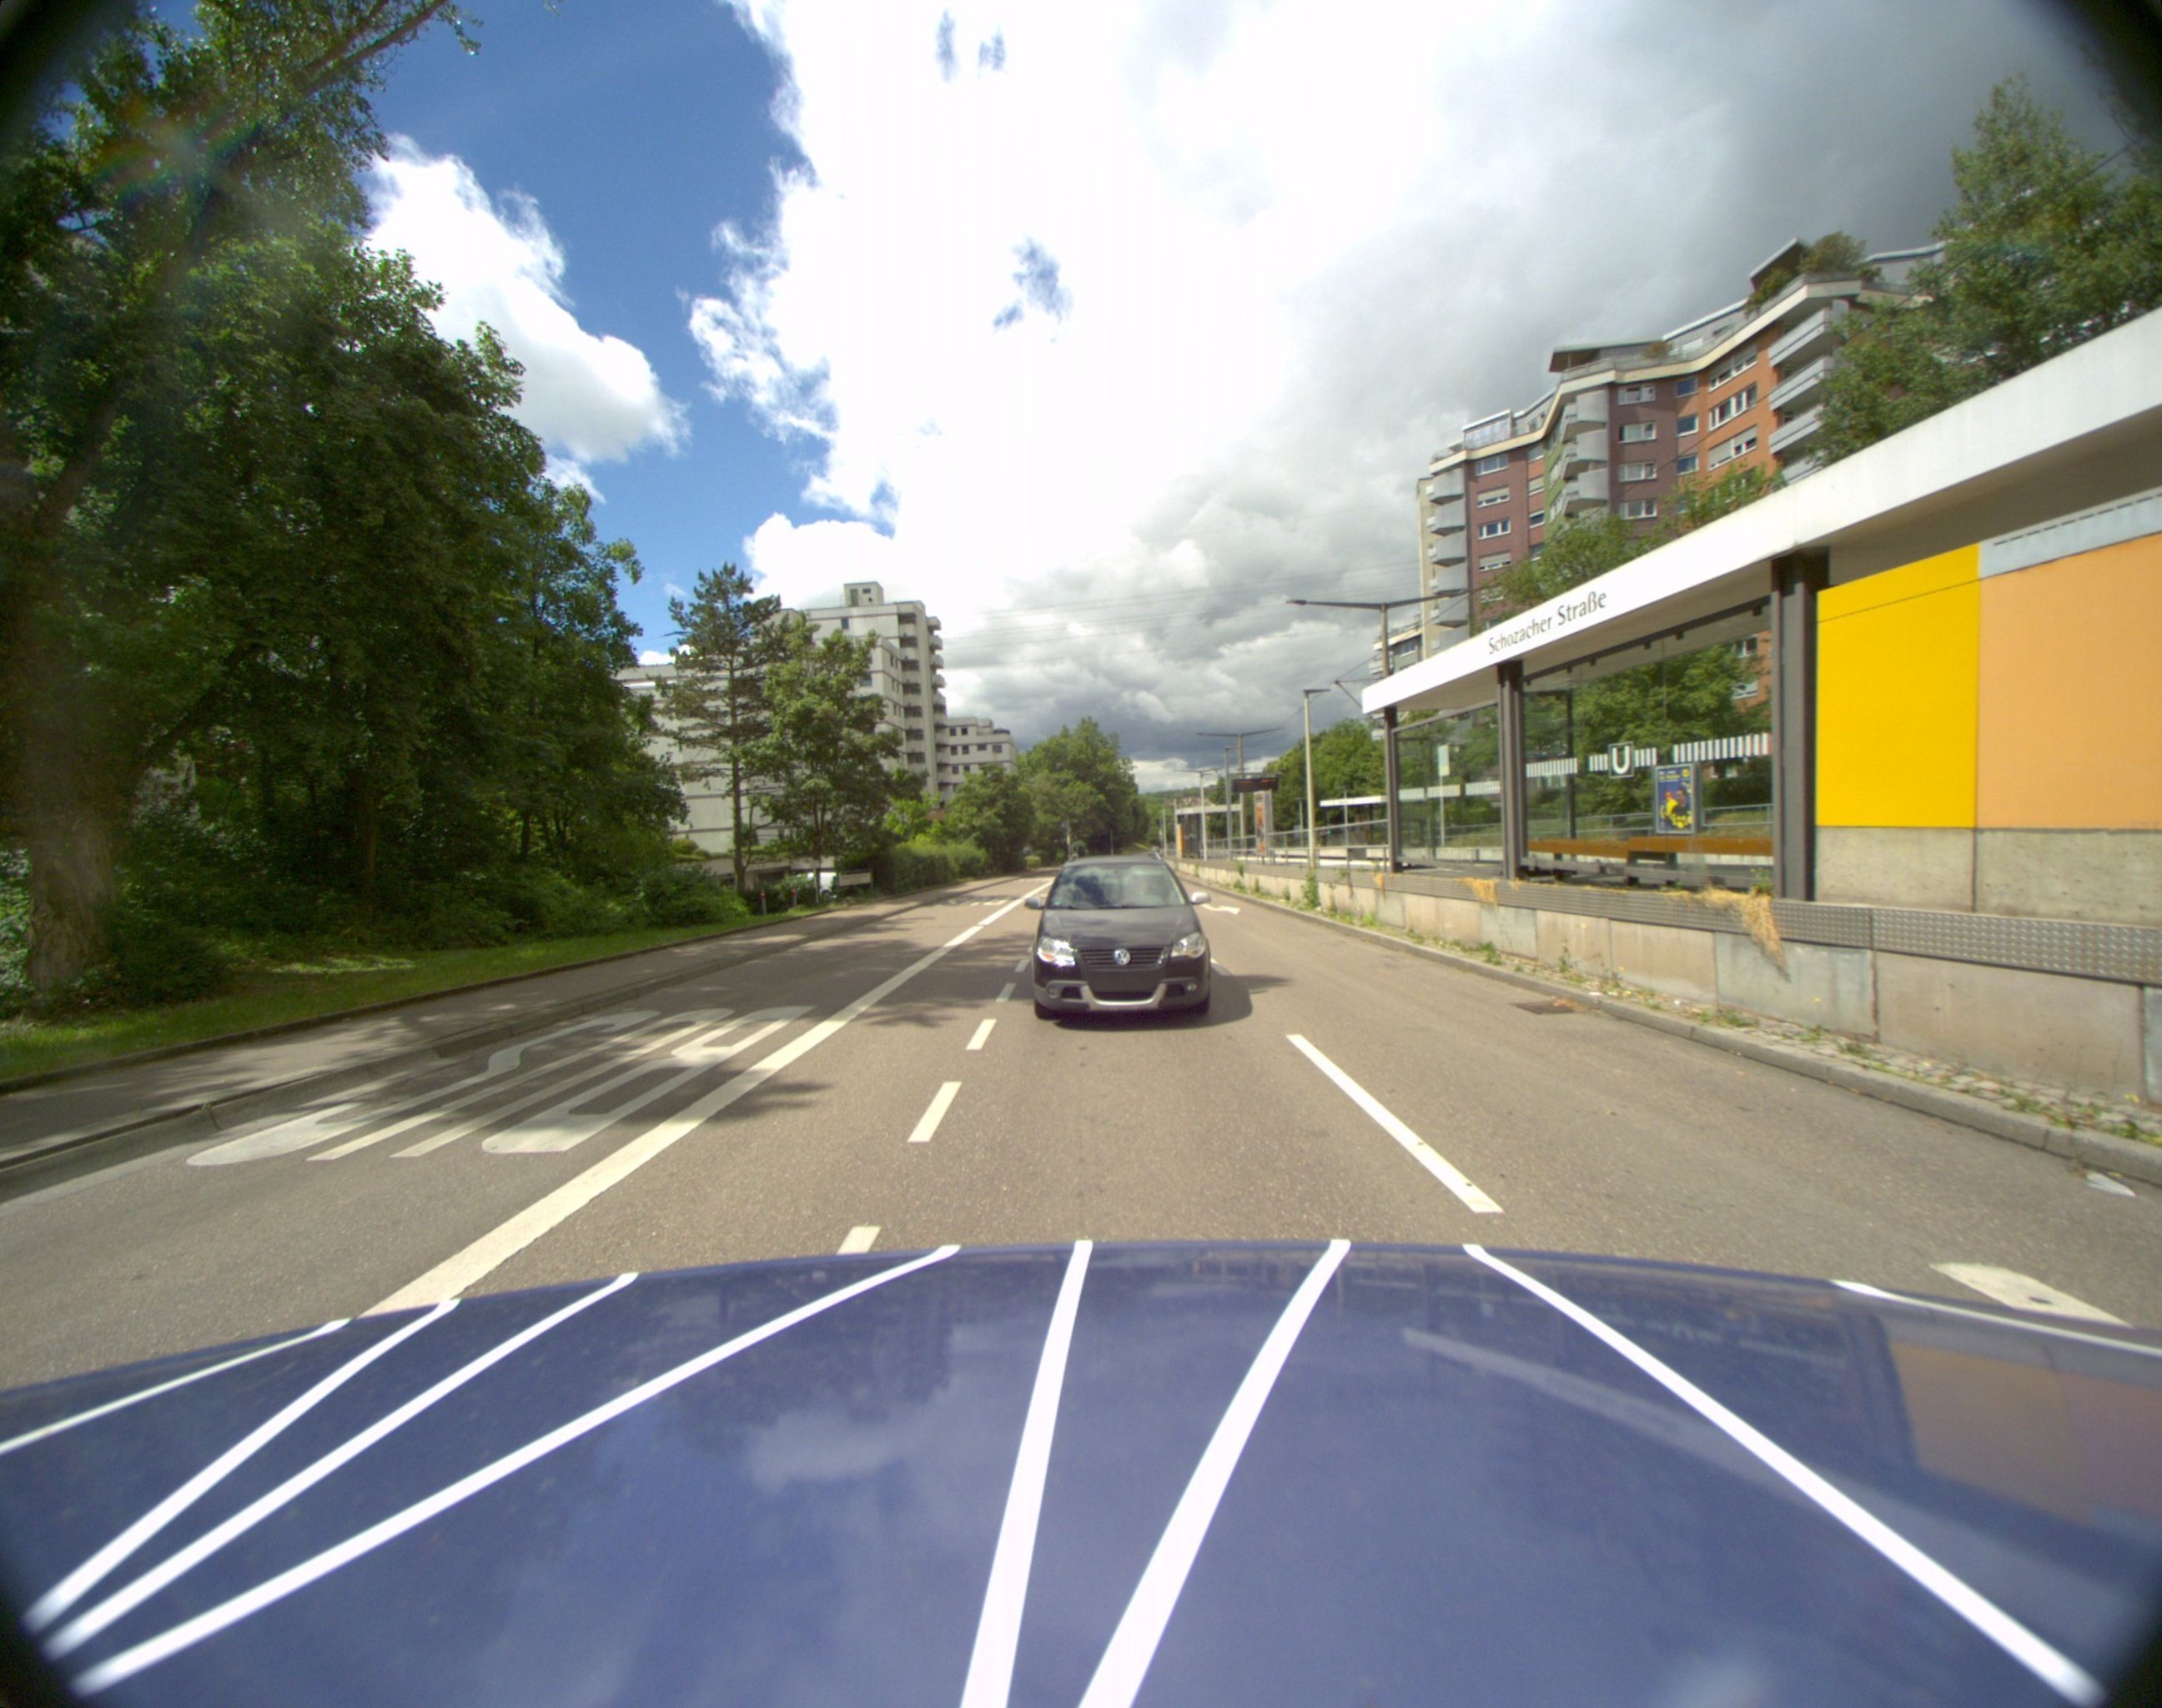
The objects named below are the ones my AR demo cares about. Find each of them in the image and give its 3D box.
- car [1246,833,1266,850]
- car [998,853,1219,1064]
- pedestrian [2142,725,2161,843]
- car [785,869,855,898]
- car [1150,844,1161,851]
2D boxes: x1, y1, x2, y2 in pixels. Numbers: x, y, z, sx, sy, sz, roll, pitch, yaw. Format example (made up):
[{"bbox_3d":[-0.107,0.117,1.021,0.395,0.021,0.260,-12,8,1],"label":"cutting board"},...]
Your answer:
[{"bbox_3d":[22.142,-1.589,96.147,1.737,2.002,4.000,-2,1,2],"label":"car"},{"bbox_3d":[0.302,0.809,7.855,1.642,1.521,4.000,-2,1,3],"label":"car"},{"bbox_3d":[15.842,-1.022,11.056,0.354,1.703,0.426,-3,2,-41],"label":"pedestrian"},{"bbox_3d":[-19.878,2.232,57.876,4.542,2.002,2.001,-2,1,10],"label":"car"},{"bbox_3d":[15.066,-1.290,154.069,1.821,1.377,4.065,-2,1,2],"label":"car"}]
